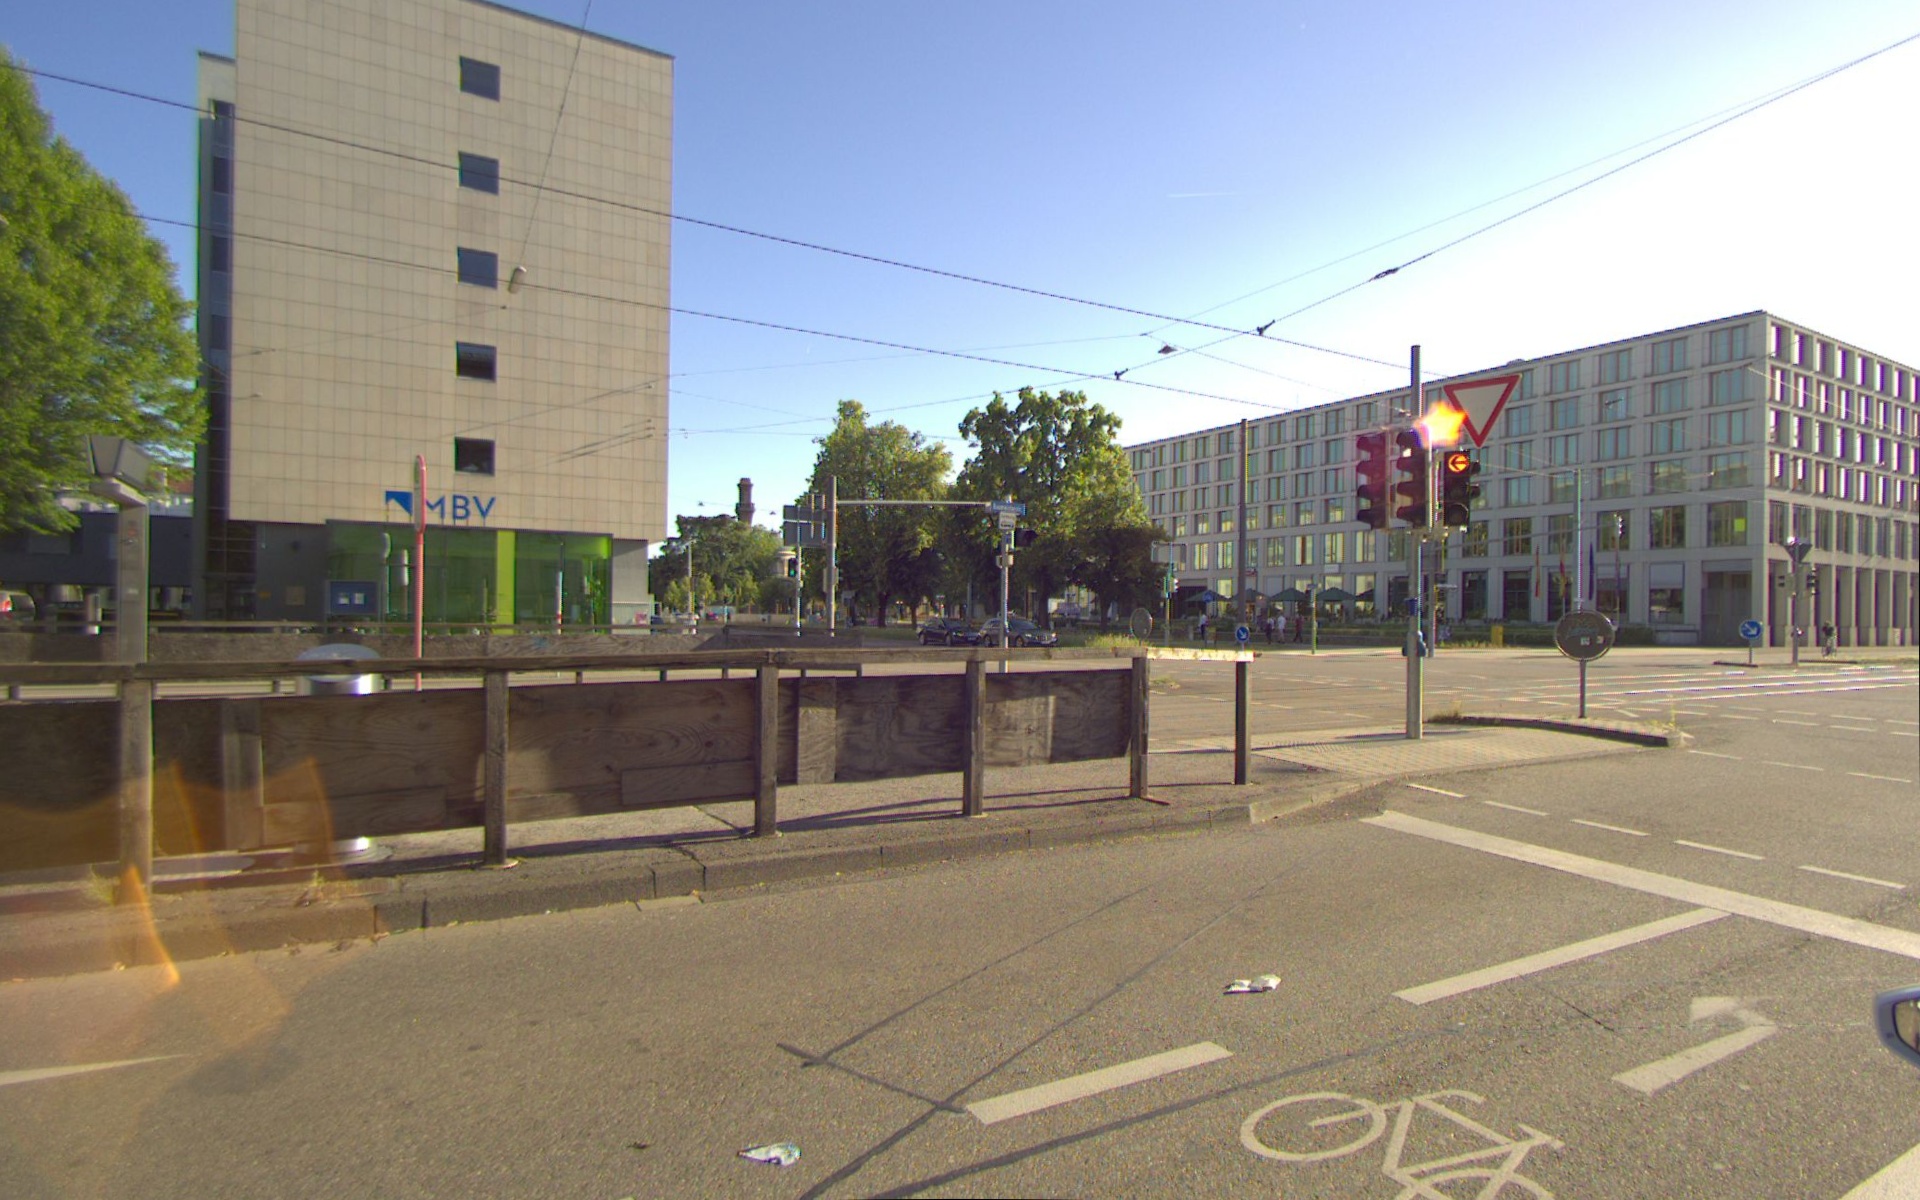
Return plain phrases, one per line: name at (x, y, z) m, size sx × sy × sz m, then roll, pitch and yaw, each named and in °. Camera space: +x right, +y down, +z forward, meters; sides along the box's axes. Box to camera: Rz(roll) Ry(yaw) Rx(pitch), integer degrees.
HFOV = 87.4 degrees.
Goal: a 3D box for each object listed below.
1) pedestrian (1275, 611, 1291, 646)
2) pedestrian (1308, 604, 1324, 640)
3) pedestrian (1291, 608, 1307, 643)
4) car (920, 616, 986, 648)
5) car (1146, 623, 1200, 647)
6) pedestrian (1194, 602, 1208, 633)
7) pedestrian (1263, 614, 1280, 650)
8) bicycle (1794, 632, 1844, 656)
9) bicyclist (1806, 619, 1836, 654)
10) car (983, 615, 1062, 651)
pedestrian at (18.754, 1.665, 58.369) m, size 0.793 × 2.040 × 0.526 m, roll 1°, pitch -1°, yaw -36°
pedestrian at (20.451, 1.272, 57.658) m, size 0.793 × 2.040 × 0.526 m, roll 1°, pitch -1°, yaw -36°
pedestrian at (19.493, 1.472, 57.800) m, size 0.793 × 2.040 × 0.526 m, roll 1°, pitch -1°, yaw -36°
car at (-0.416, 1.677, 53.325) m, size 1.801 × 1.595 × 3.967 m, roll 0°, pitch 0°, yaw -31°
car at (13.397, 2.184, 63.320) m, size 1.458 × 1.457 × 3.161 m, roll 1°, pitch -1°, yaw -37°
pedestrian at (15.150, 1.095, 63.124) m, size 0.672 × 1.928 × 0.560 m, roll 1°, pitch -1°, yaw -21°
pedestrian at (17.928, 1.843, 57.823) m, size 0.793 × 2.040 × 0.526 m, roll 1°, pitch -1°, yaw -36°
bicycle at (41.360, 2.098, 48.333) m, size 2.976 × 1.136 × 0.871 m, roll 1°, pitch -1°, yaw -29°
bicyclist at (41.425, 1.729, 48.342) m, size 0.812 × 1.663 × 0.872 m, roll 1°, pitch -1°, yaw -29°
car at (2.904, 1.515, 47.350) m, size 1.708 × 1.595 × 4.140 m, roll 1°, pitch -1°, yaw -31°
